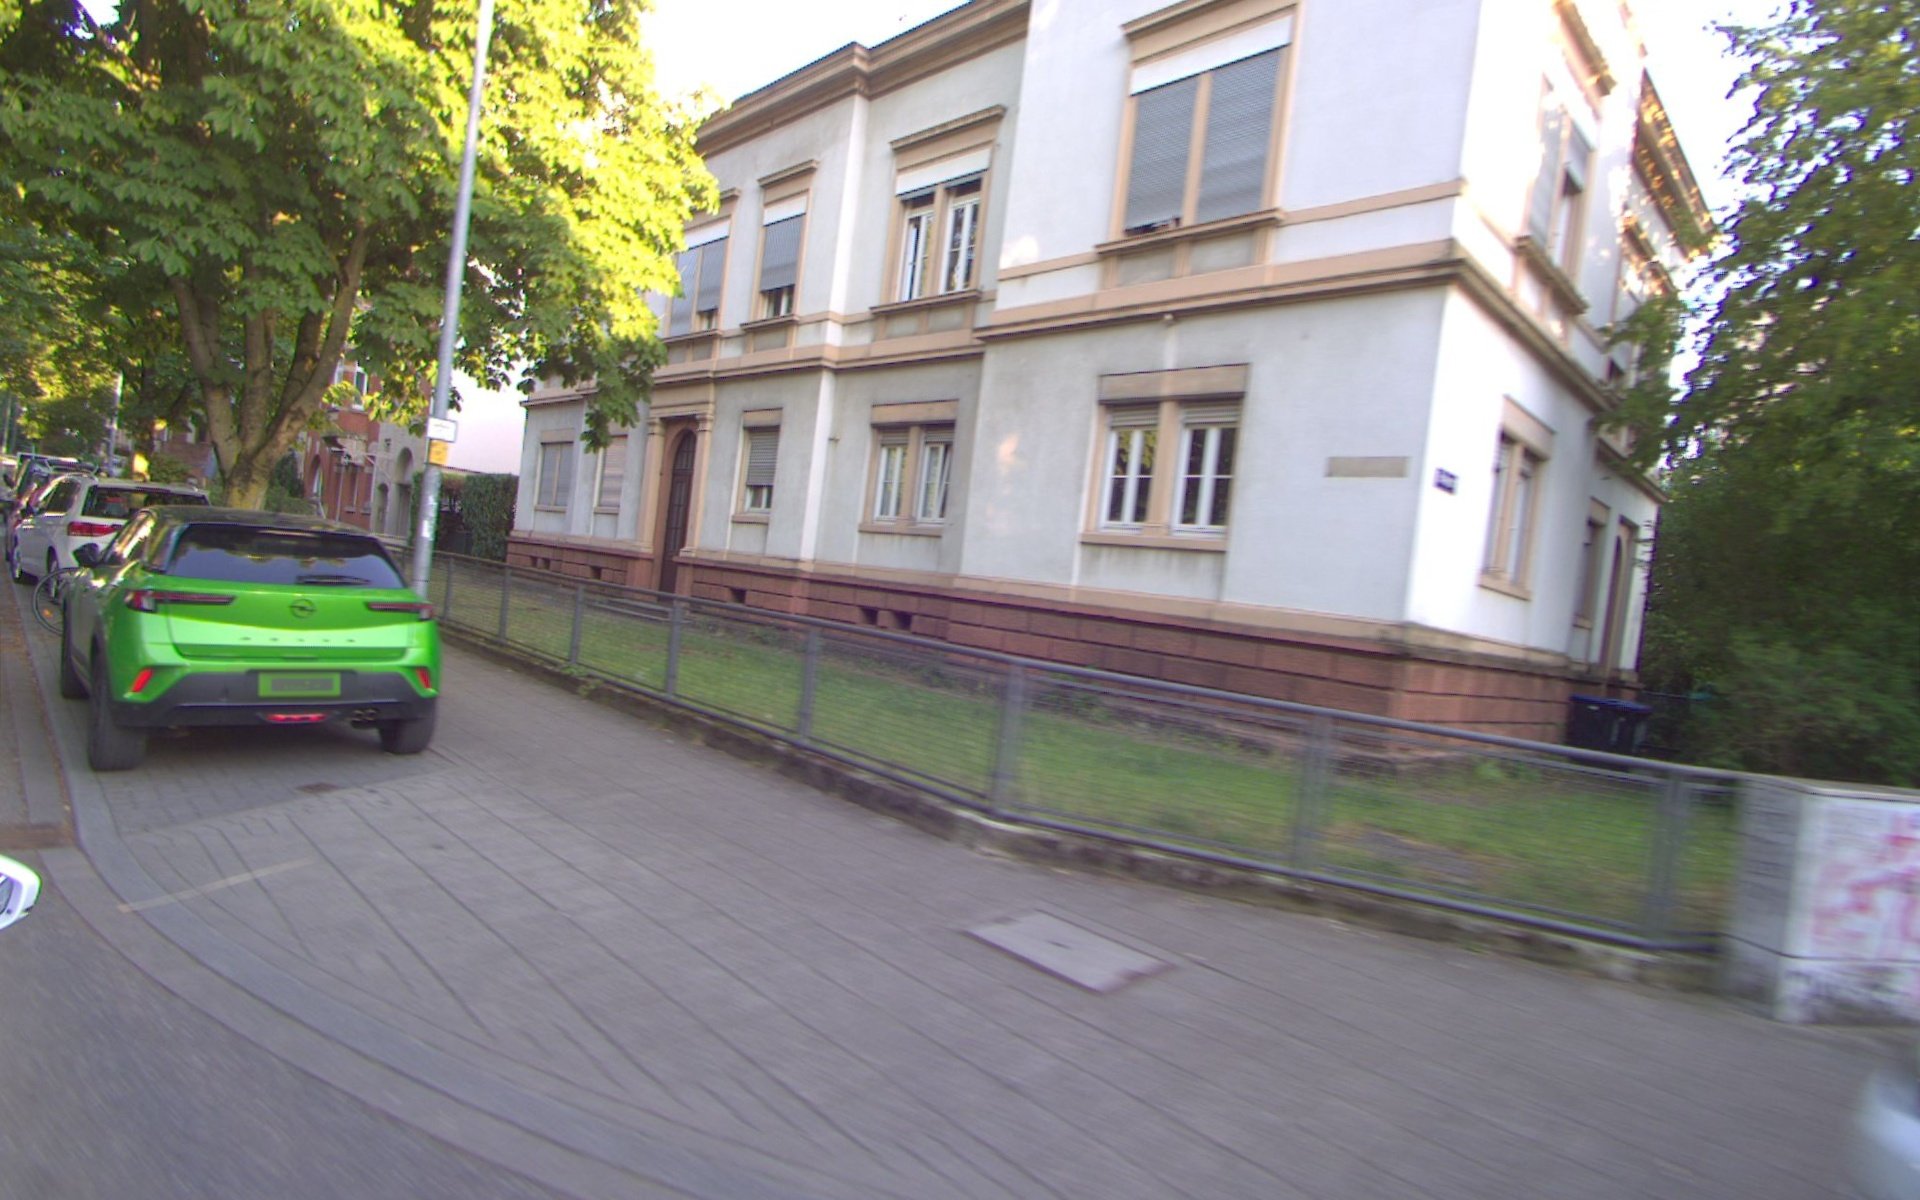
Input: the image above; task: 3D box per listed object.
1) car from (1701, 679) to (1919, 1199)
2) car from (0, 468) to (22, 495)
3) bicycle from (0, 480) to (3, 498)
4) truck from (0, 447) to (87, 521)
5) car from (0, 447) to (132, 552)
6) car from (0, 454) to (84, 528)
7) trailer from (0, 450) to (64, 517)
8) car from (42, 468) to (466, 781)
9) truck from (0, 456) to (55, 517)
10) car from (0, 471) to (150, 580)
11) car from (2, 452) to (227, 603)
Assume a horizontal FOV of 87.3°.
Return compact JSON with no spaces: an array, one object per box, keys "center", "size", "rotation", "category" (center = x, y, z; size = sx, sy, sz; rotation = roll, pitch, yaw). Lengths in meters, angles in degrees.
[{"center":[4.051,1.236,1.728],"size":[4.096,1.519,1.812],"rotation":[8,0,0],"category":"car"},{"center":[-71.239,-8.880,74.757],"size":[4.538,1.733,1.794],"rotation":[7,1,43],"category":"car"},{"center":[-65.275,-7.562,67.774],"size":[0.439,1.187,1.629],"rotation":[7,0,-20],"category":"bicycle"},{"center":[-33.015,-4.172,36.087],"size":[4.579,2.277,1.949],"rotation":[8,4,42],"category":"truck"},{"center":[-21.450,-2.435,23.932],"size":[4.762,2.087,1.949],"rotation":[8,4,42],"category":"car"},{"center":[-28.842,-3.451,31.423],"size":[4.552,1.969,1.833],"rotation":[8,4,44],"category":"car"},{"center":[-36.905,-4.608,39.737],"size":[1.947,2.327,4.584],"rotation":[3,4,-45],"category":"trailer"},{"center":[-5.192,-0.007,7.168],"size":[3.909,1.578,1.725],"rotation":[8,4,44],"category":"car"},{"center":[-41.905,-5.061,44.616],"size":[6.685,2.272,1.973],"rotation":[7,1,43],"category":"truck"},{"center":[-15.346,-1.313,17.265],"size":[3.642,1.520,1.660],"rotation":[8,4,42],"category":"car"},{"center":[-11.835,-1.050,13.993],"size":[4.059,1.701,1.661],"rotation":[8,4,39],"category":"car"}]
